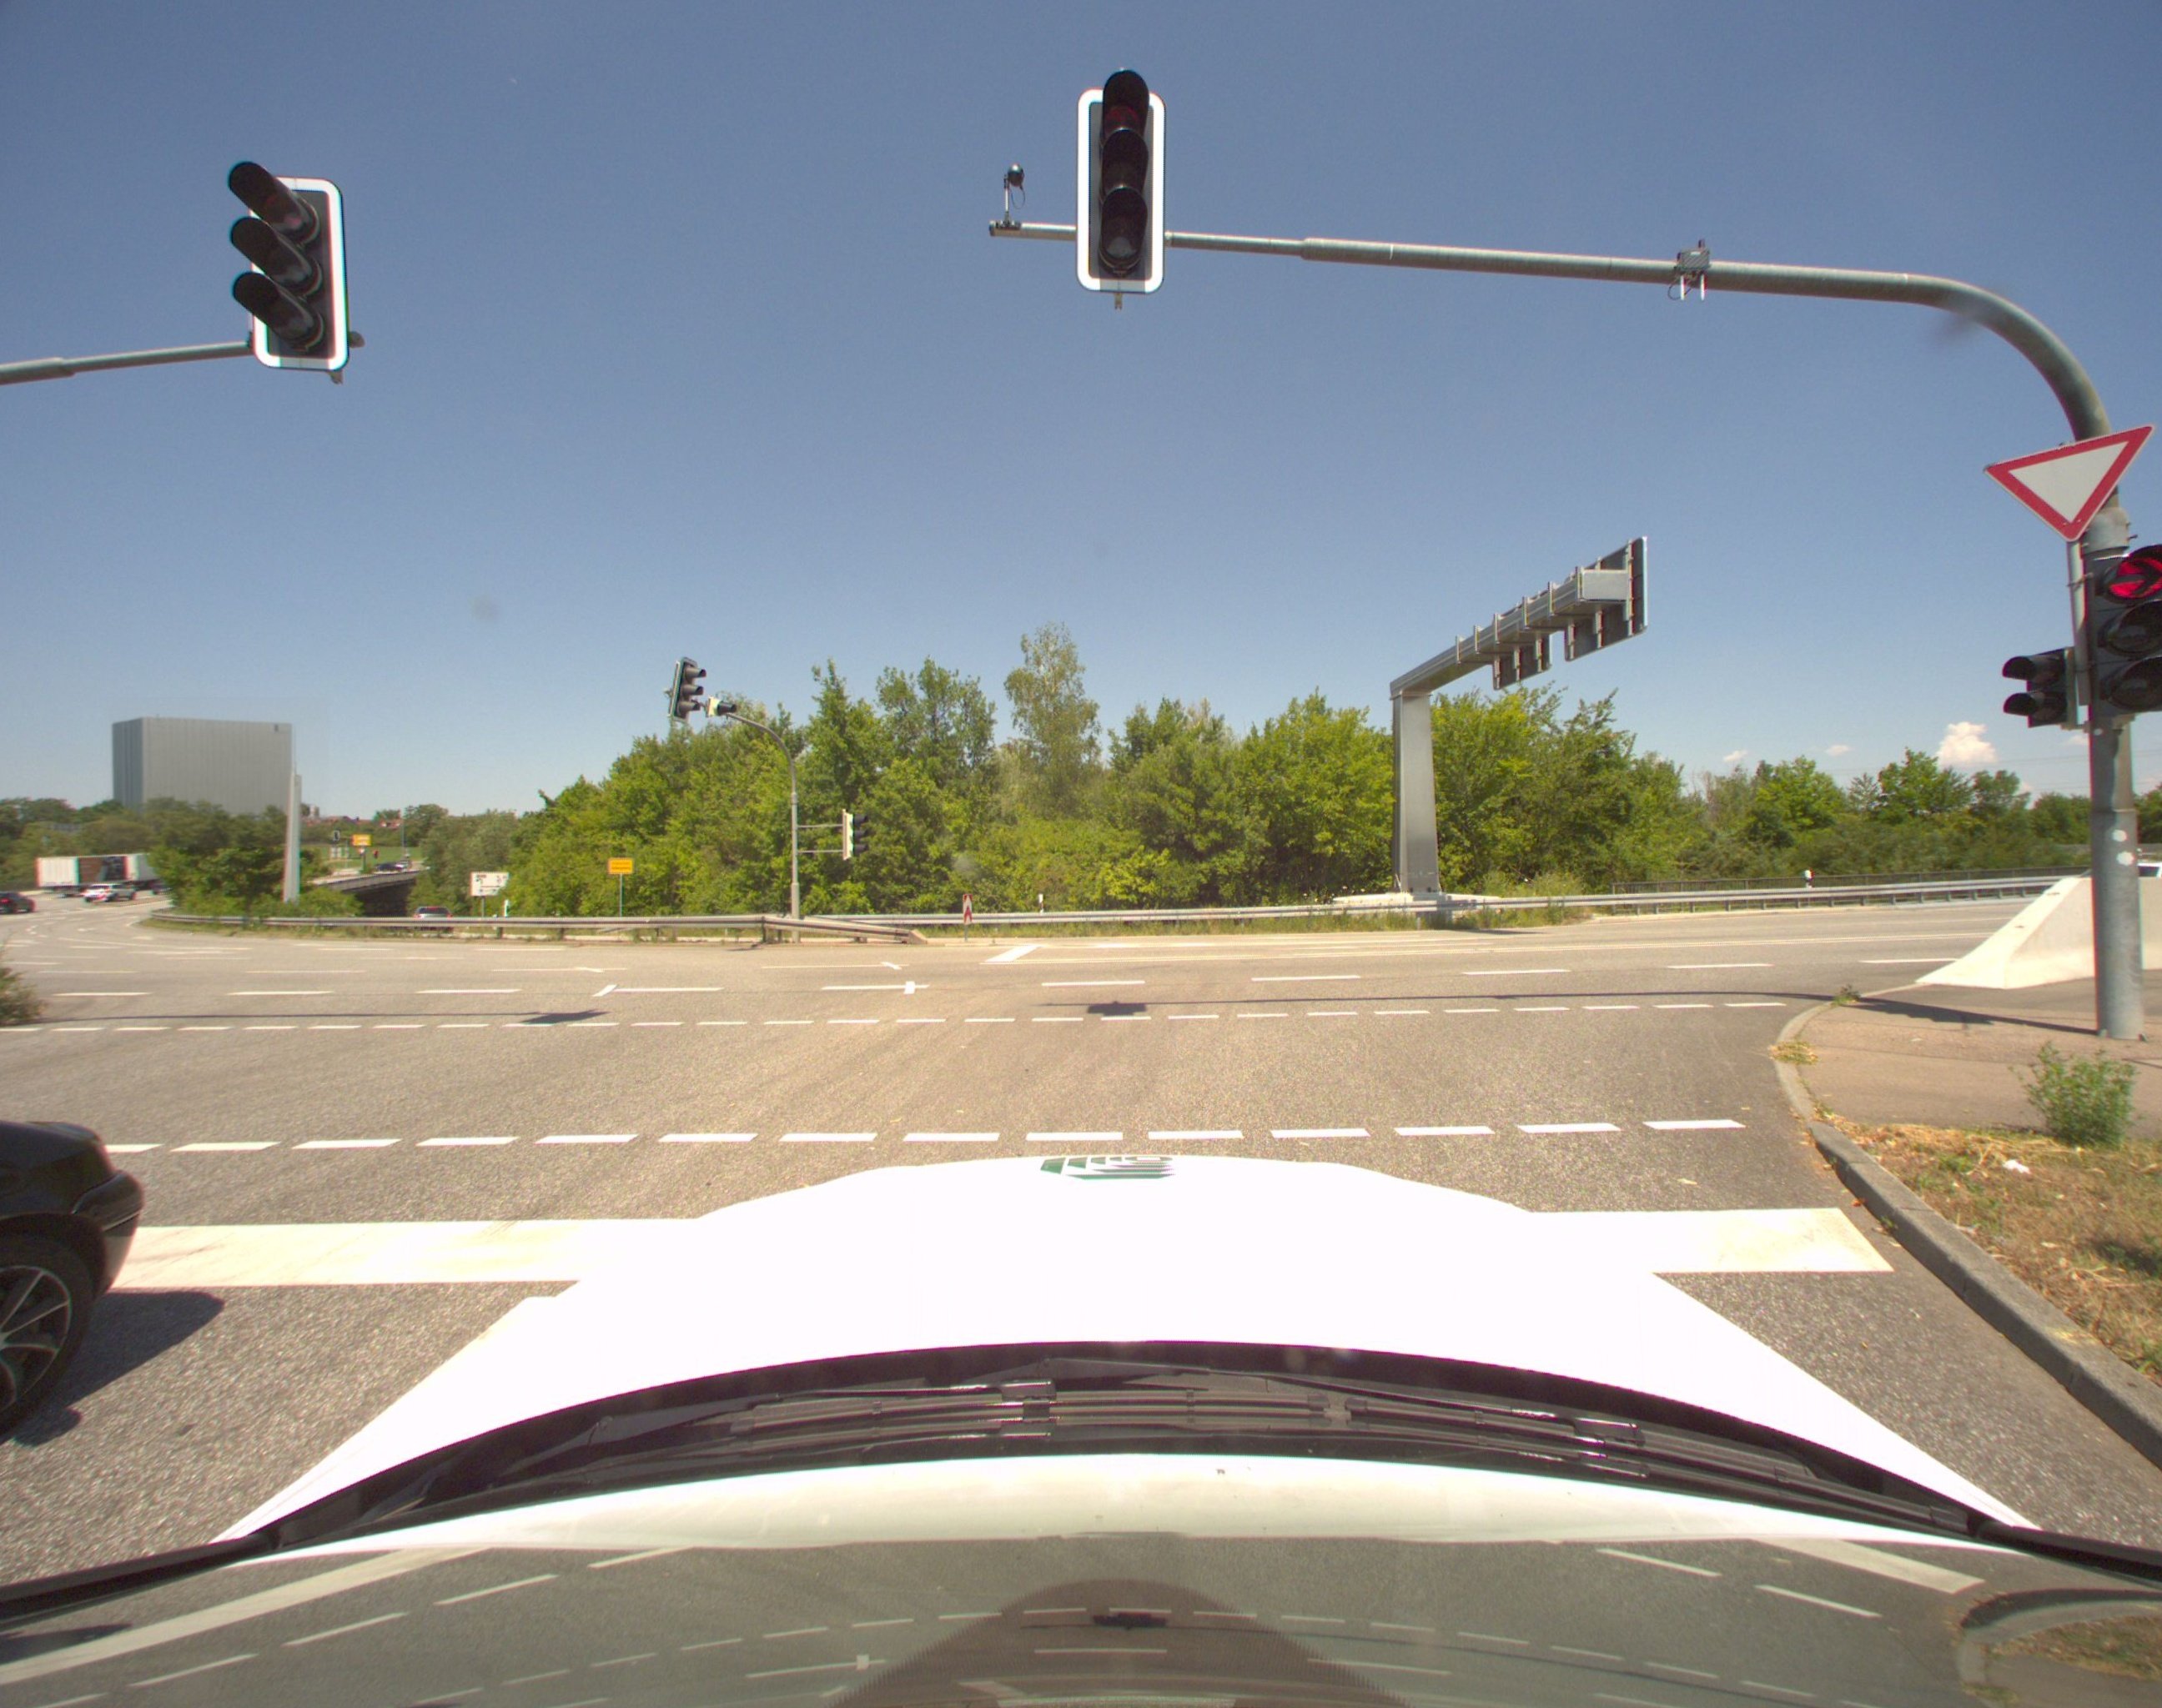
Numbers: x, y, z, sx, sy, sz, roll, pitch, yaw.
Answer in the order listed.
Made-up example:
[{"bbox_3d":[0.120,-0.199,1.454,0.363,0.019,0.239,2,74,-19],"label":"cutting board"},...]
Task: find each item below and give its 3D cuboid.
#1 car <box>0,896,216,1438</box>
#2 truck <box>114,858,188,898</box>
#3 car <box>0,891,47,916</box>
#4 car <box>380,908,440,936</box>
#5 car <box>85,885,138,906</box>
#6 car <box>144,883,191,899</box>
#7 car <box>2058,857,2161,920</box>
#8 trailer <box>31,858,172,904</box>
[{"bbox_3d":[-3.632,0.840,1.025,1.615,1.407,3.297,-1,-1,-2],"label":"car"},{"bbox_3d":[-104.799,2.612,91.882,3.248,4.248,6.185,0,0,-26],"label":"truck"},{"bbox_3d":[-80.819,3.752,61.639,1.889,1.622,3.961,0,0,-31],"label":"car"},{"bbox_3d":[-36.645,3.670,44.450,4.356,1.434,1.822,-3,-5,41],"label":"car"},{"bbox_3d":[-88.829,3.814,74.641,1.941,1.665,3.960,0,0,-31],"label":"car"},{"bbox_3d":[-93.731,3.771,83.626,2.005,1.552,3.963,0,-1,-29],"label":"car"},{"bbox_3d":[25.818,0.833,19.390,3.983,1.396,1.638,0,-4,-14],"label":"car"},{"bbox_3d":[-101.564,2.606,85.020,3.248,4.248,15.278,0,0,-25],"label":"trailer"}]
